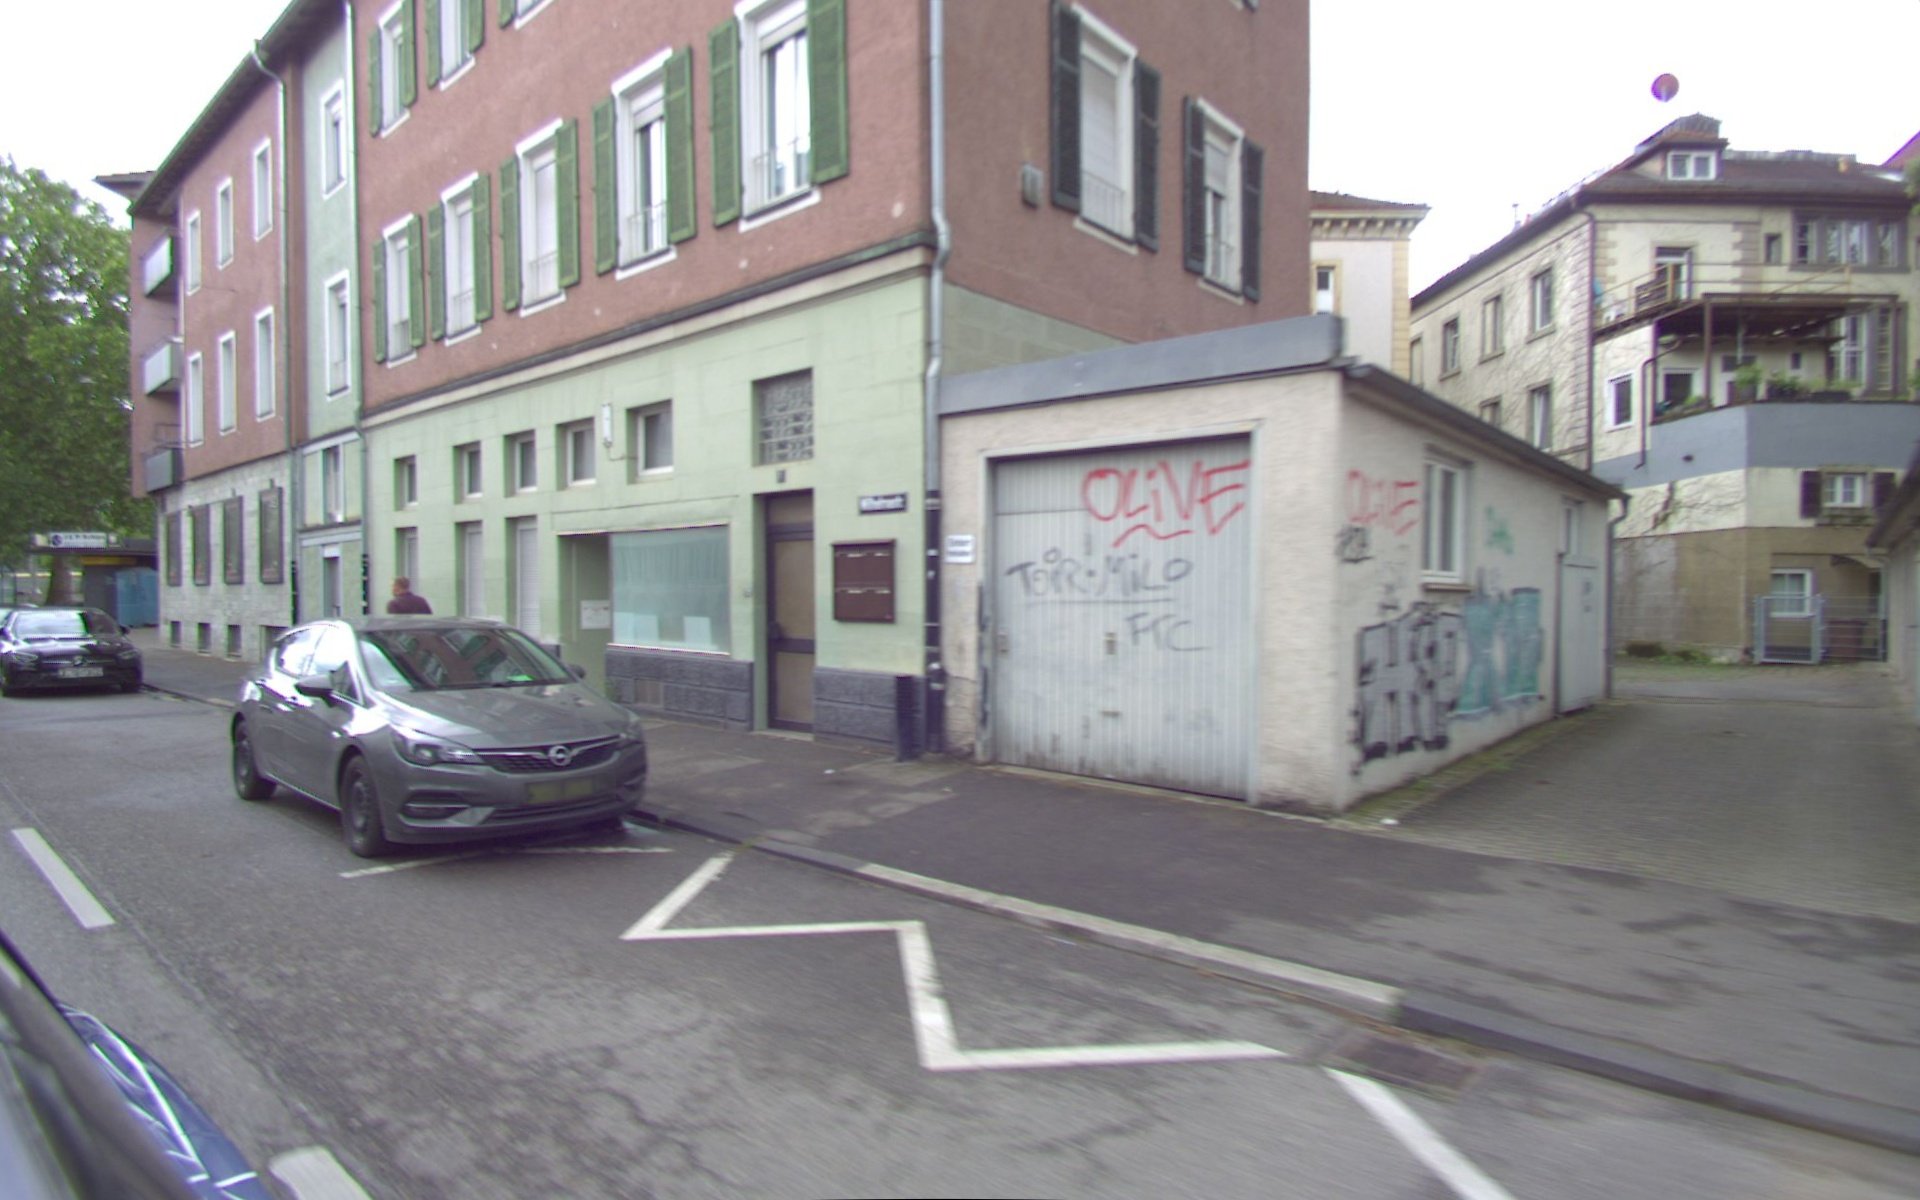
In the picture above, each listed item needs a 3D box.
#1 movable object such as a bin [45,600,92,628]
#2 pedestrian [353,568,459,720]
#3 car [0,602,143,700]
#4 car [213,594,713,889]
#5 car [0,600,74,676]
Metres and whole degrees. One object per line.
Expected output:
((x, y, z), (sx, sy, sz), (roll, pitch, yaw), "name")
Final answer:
((-32.936, 0.511, 37.407), (1.063, 0.971, 0.674), (-2, 4, -2), "movable object such as a bin")
((-6.776, 0.512, 12.378), (0.983, 1.757, 0.754), (-2, 1, 39), "pedestrian")
((-16.381, 0.812, 18.272), (4.920, 1.466, 1.809), (1, 1, 42), "car")
((-3.823, 0.766, 7.453), (4.126, 1.497, 1.858), (-1, 2, 42), "car")
((-20.658, 0.755, 21.596), (4.578, 1.466, 1.812), (1, 1, 38), "car")
